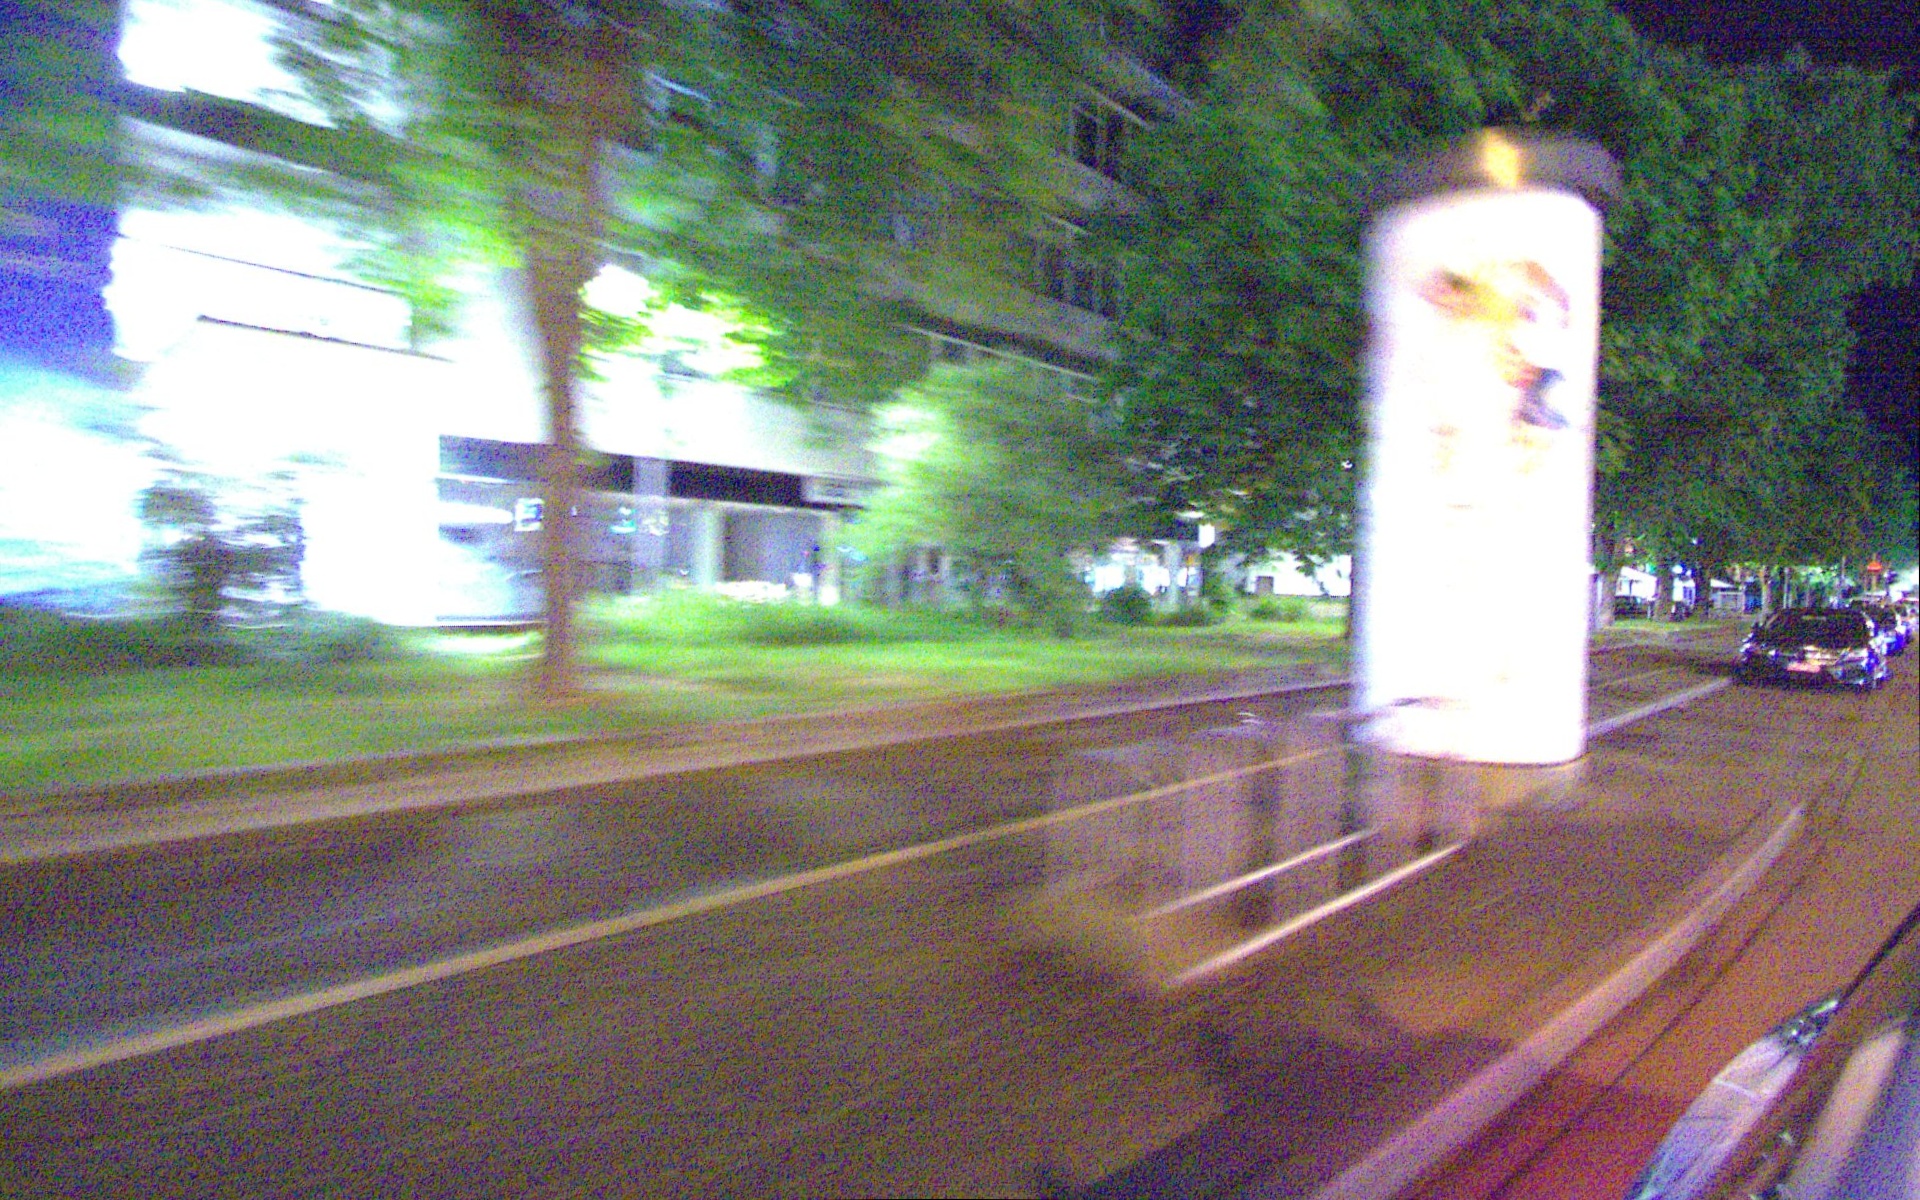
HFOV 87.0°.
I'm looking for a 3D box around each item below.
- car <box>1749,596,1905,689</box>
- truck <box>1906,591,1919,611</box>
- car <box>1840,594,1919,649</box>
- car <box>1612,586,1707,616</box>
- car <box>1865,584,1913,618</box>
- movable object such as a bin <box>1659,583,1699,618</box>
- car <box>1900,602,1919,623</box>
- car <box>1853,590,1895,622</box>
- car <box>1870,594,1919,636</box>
[{"bbox_3d":[16.134,0.704,18.741,4.729,1.432,1.766,0,2,-45],"label":"car"},{"bbox_3d":[112.468,0.158,118.281,6.177,2.271,2.109,1,2,-41],"label":"truck"},{"bbox_3d":[28.930,0.635,31.732,3.950,1.555,1.691,0,3,-45],"label":"car"},{"bbox_3d":[41.100,0.031,59.531,4.318,1.550,1.775,4,3,45],"label":"car"},{"bbox_3d":[69.441,0.064,75.682,2.130,2.355,5.081,3,2,38],"label":"car"},{"bbox_3d":[29.253,0.013,41.178,1.160,1.388,0.978,2,1,44],"label":"movable object such as a bin"},{"bbox_3d":[87.620,1.098,92.815,1.908,1.825,4.858,3,2,44],"label":"car"},{"bbox_3d":[56.748,0.356,62.800,1.789,1.844,4.507,3,2,44],"label":"car"},{"bbox_3d":[38.788,0.620,41.607,4.147,1.555,1.772,0,4,-45],"label":"car"}]
